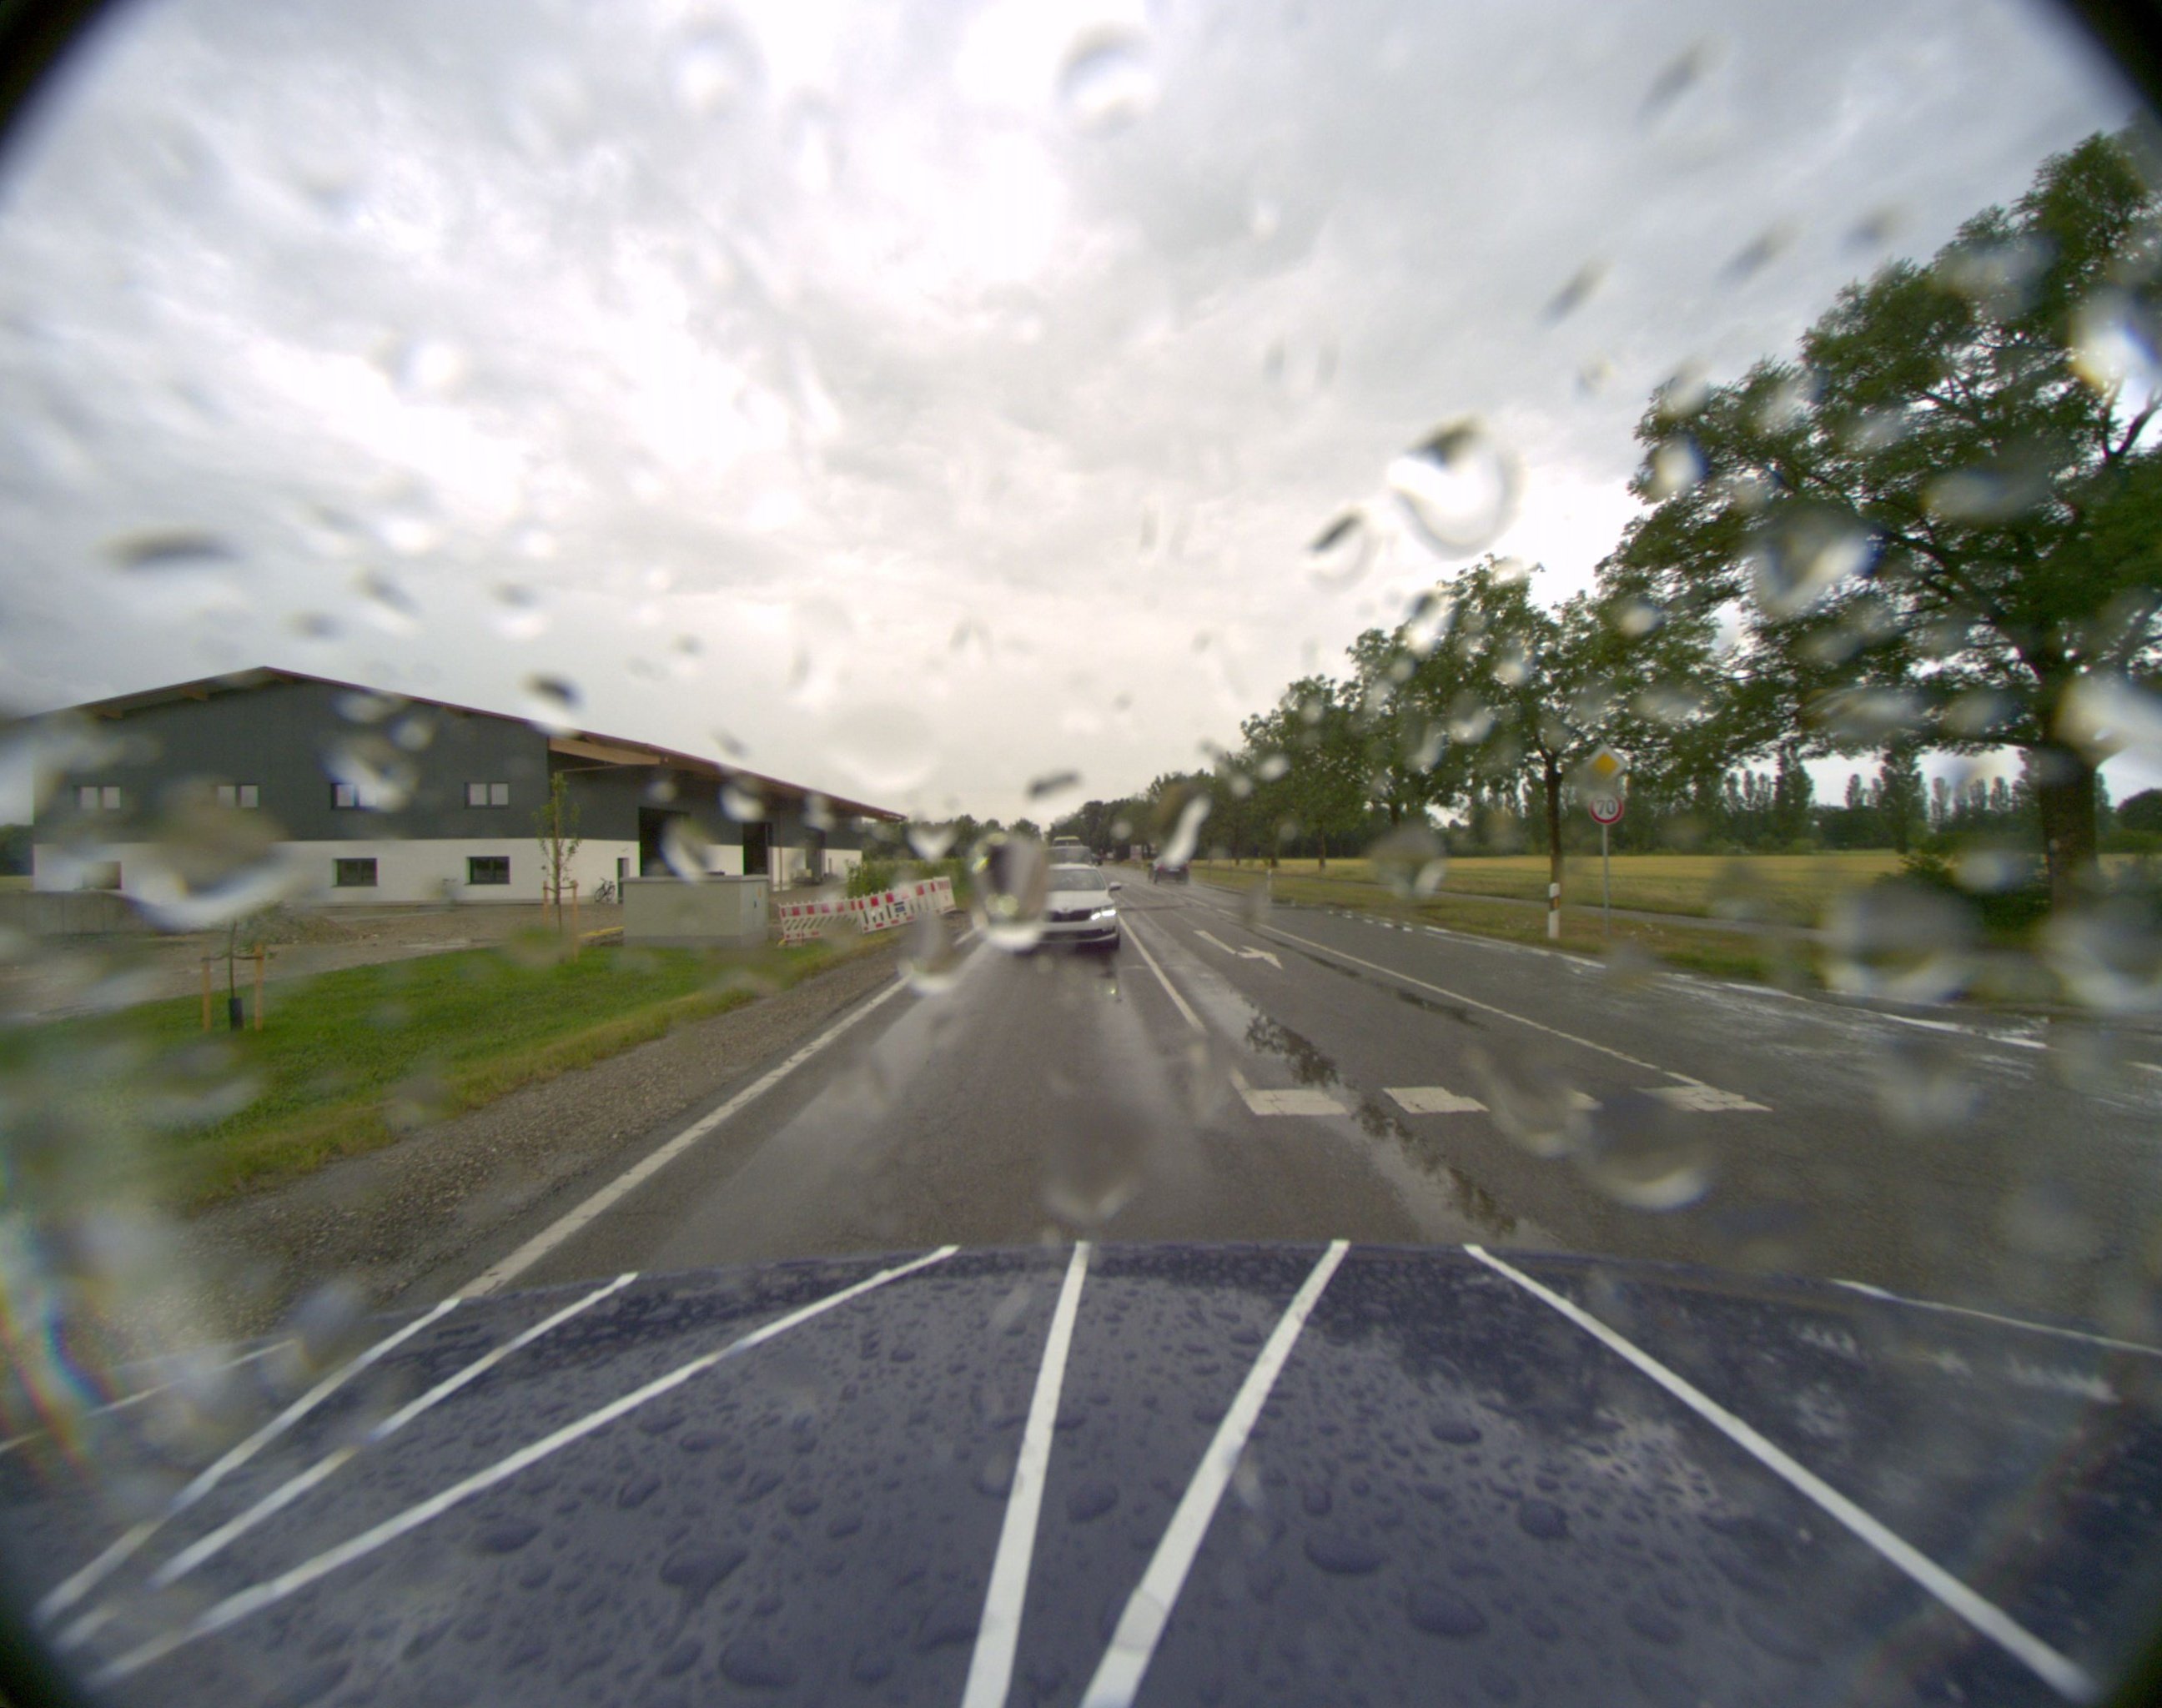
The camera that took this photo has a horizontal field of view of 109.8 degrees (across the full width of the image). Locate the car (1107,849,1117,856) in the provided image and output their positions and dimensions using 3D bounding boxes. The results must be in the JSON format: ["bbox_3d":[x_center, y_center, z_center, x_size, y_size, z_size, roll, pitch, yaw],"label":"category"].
[{"bbox_3d":[8.384,-0.453,206.469,1.999,2.002,3.997,-1,1,-6],"label":"car"}]

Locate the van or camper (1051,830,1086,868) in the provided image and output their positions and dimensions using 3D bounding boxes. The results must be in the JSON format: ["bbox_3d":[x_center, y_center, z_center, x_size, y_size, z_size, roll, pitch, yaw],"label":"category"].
[{"bbox_3d":[-1.222,-0.509,78.011,3.342,3.624,8.371,-1,0,-1],"label":"van or camper"}]

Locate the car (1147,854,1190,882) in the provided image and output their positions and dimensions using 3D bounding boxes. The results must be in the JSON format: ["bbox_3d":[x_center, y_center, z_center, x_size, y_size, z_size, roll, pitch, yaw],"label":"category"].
[{"bbox_3d":[4.746,0.744,41.884,1.770,1.429,4.412,0,0,-1],"label":"car"}]

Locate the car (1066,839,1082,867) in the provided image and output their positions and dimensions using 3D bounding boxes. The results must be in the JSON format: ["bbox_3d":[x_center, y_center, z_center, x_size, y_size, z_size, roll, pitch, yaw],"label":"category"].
[{"bbox_3d":[-0.827,-0.138,89.662,1.771,3.134,4.027,-1,0,-1],"label":"car"}]

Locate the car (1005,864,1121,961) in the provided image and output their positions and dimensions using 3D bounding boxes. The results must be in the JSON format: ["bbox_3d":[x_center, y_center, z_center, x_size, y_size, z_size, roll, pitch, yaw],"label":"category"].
[{"bbox_3d":[-0.299,0.932,13.962,1.770,1.365,4.575,-1,0,-1],"label":"car"}]

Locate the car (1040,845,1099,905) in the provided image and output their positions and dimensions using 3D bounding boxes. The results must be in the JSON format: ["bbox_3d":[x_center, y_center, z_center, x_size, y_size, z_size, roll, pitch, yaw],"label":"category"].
[{"bbox_3d":[-0.390,0.670,26.560,1.841,1.888,4.575,-1,0,-1],"label":"car"}]
